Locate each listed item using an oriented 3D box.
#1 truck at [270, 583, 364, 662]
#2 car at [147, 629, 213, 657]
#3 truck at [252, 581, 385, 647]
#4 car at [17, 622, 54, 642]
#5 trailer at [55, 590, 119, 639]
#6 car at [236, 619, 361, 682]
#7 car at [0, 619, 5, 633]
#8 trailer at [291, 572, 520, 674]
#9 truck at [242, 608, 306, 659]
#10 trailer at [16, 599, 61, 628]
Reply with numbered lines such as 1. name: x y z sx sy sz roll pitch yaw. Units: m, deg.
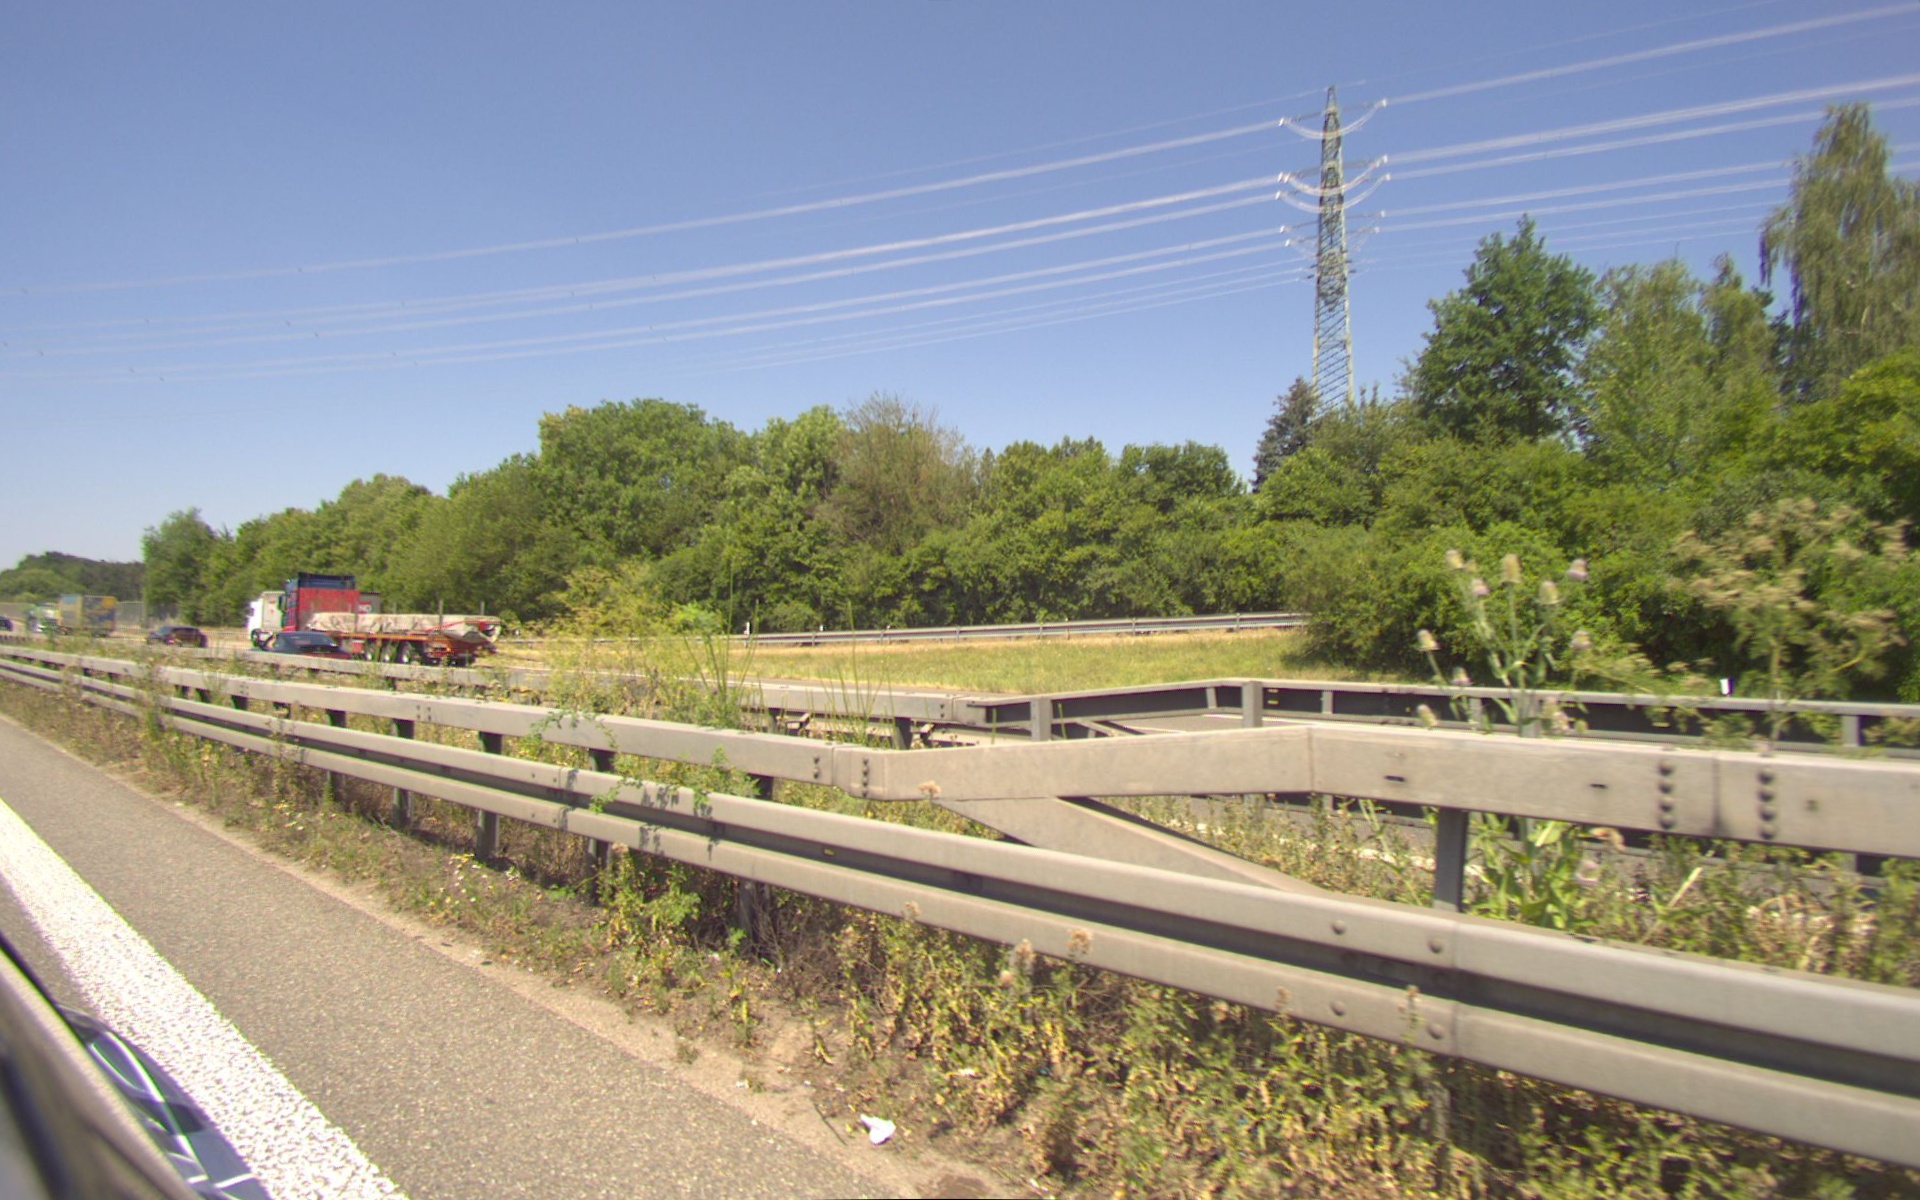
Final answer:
1. truck: -30.704 1.086 48.339 3.116 3.586 2.965 -1 -2 41
2. car: -40.043 2.198 51.915 4.919 1.344 1.751 -1 -3 41
3. truck: -49.706 1.234 78.132 14.503 4.374 2.972 -3 -3 33
4. car: -77.364 2.658 84.696 3.881 1.542 1.763 -1 -4 41
5. trailer: -83.402 1.412 96.552 13.812 4.374 3.140 -1 -2 43
6. car: -17.411 1.301 26.582 3.998 1.538 1.706 -1 -3 41
7. car: -108.095 2.871 113.092 4.146 1.480 1.693 -1 -4 43
8. trailer: -23.477 0.948 42.023 16.015 3.586 2.965 -1 -2 41
9. truck: -55.561 2.704 81.983 4.311 3.926 2.920 -3 -3 33
10. trailer: -109.376 1.598 120.015 9.706 3.326 2.883 -1 -2 42
